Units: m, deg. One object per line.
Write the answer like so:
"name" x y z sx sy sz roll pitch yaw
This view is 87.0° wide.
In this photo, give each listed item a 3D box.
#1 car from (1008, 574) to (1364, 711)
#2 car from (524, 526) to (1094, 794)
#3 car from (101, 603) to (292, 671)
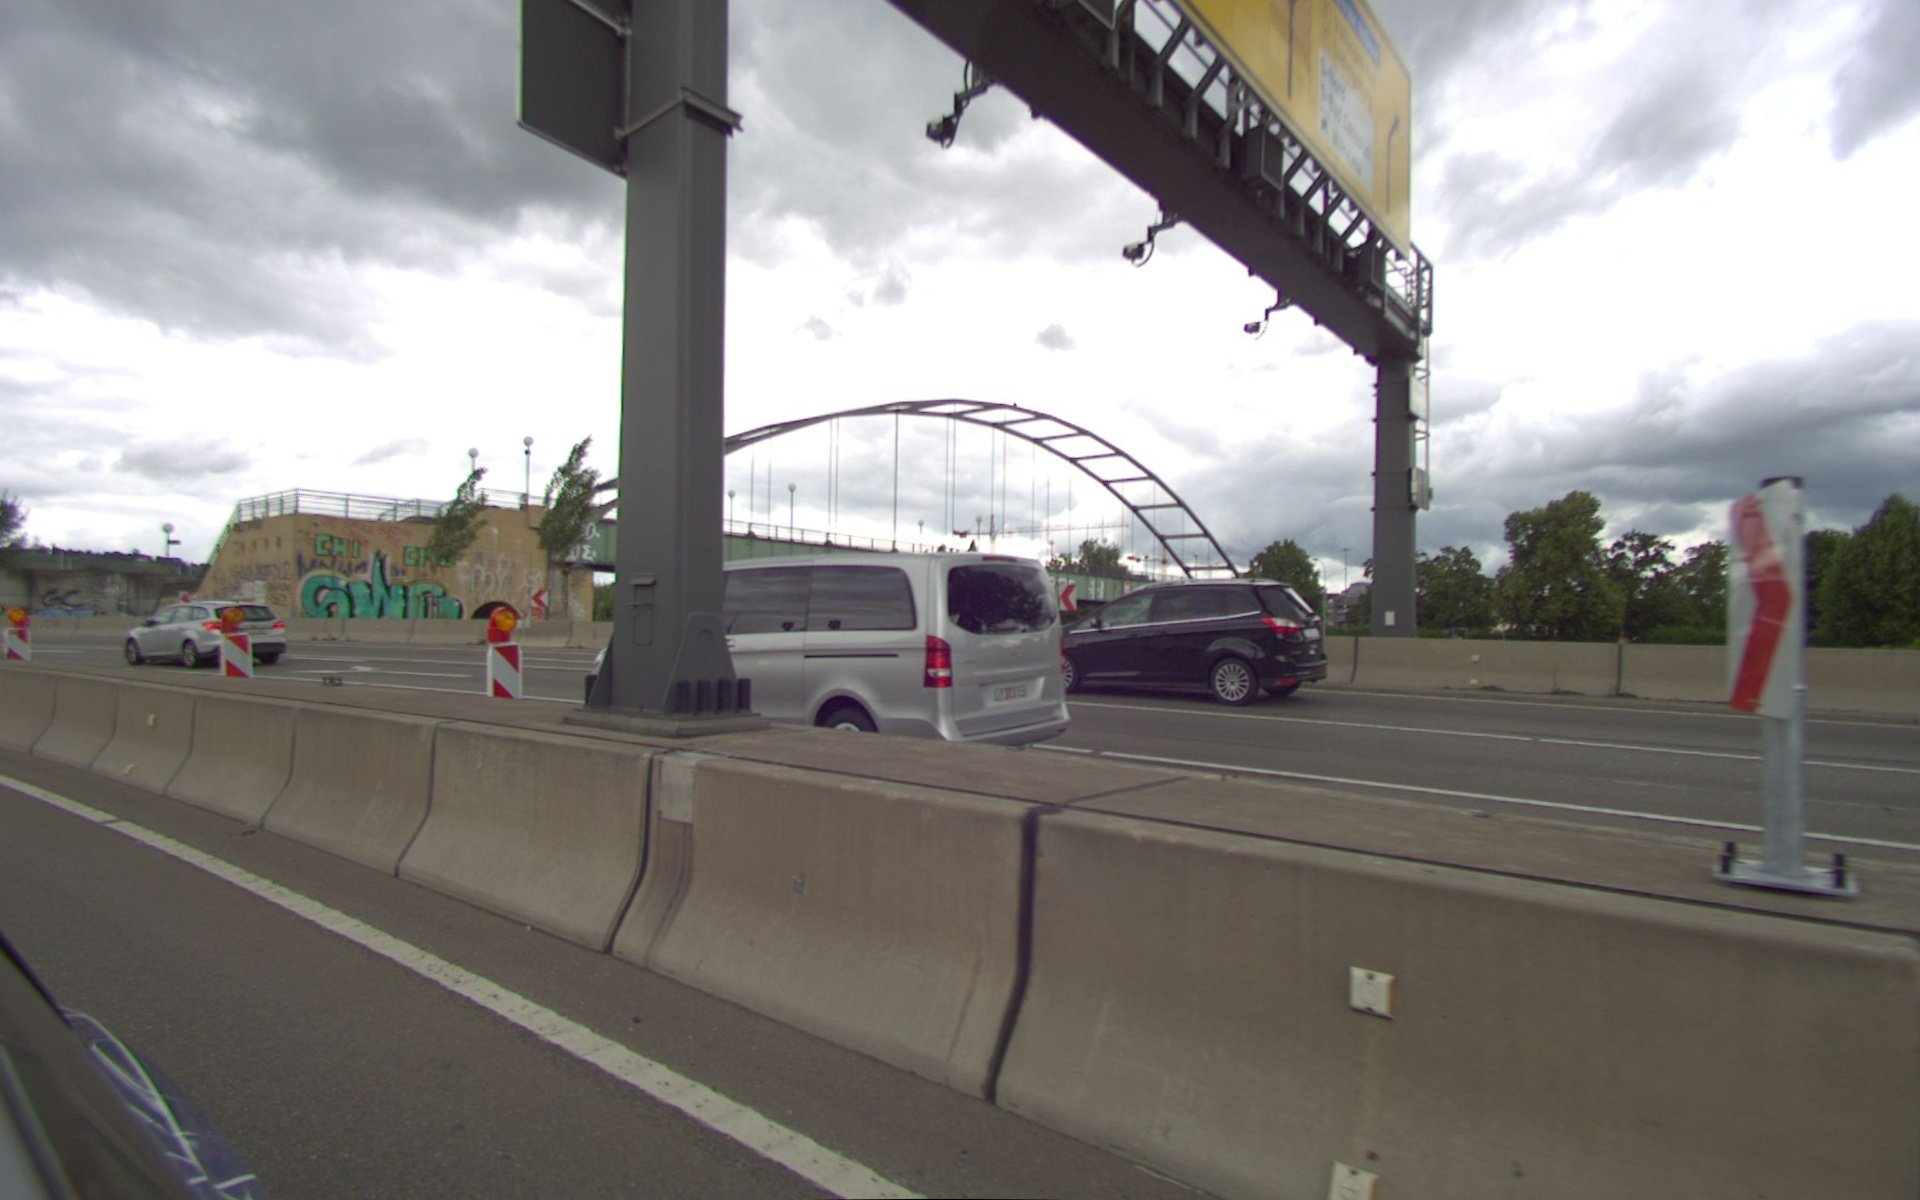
"car" 3.172 0.539 14.802 4.724 1.685 1.973 -1 0 40
"car" -1.728 0.423 9.482 5.787 1.820 1.932 -1 0 40
"car" -17.719 0.812 23.443 4.627 1.432 1.783 -1 0 28
